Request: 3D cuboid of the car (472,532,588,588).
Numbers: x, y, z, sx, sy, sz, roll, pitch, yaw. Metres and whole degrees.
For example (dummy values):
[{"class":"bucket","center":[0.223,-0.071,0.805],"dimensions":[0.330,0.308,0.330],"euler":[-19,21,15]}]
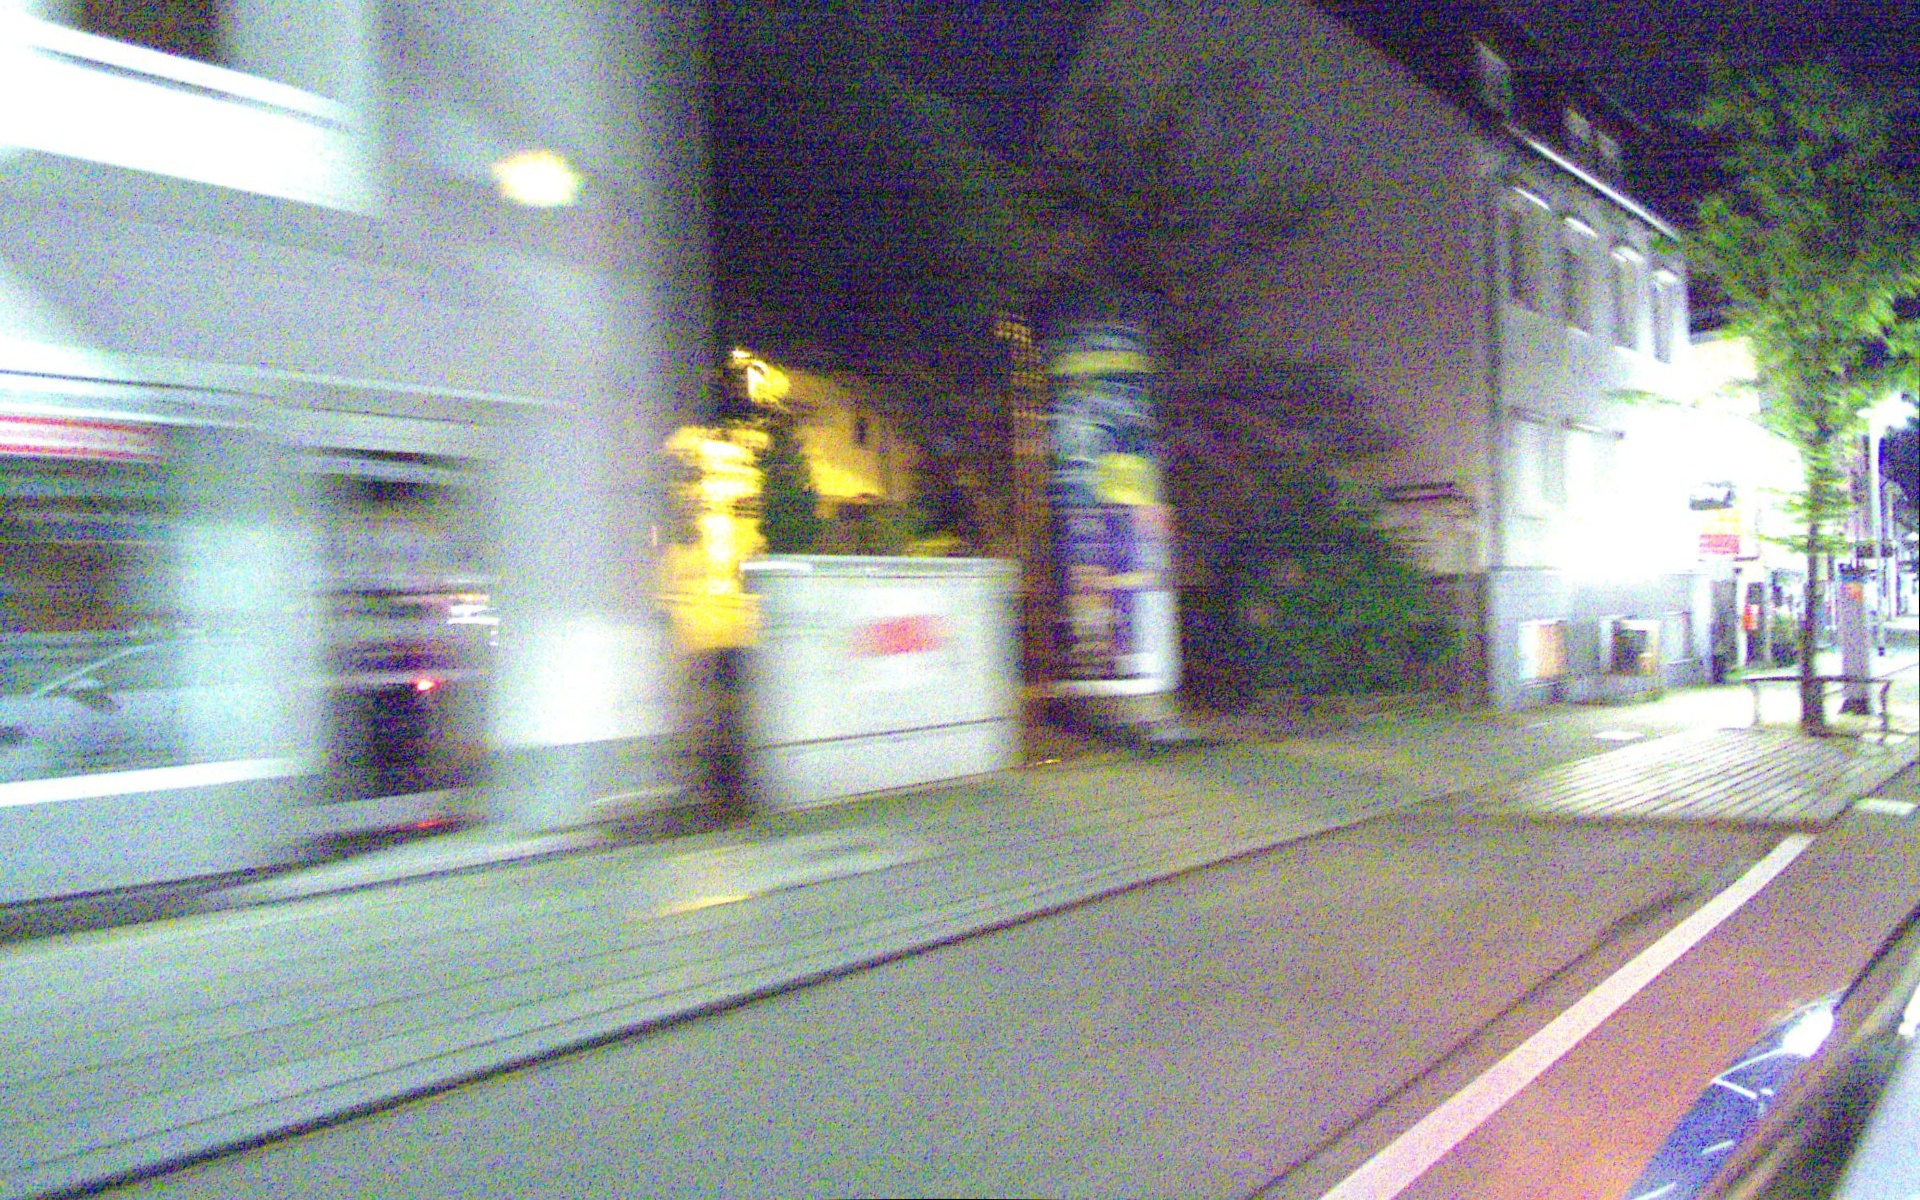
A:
[{"class":"car","center":[-12.305,-1.173,28.826],"dimensions":[1.700,1.417,4.098],"euler":[-2,5,-44]}]
